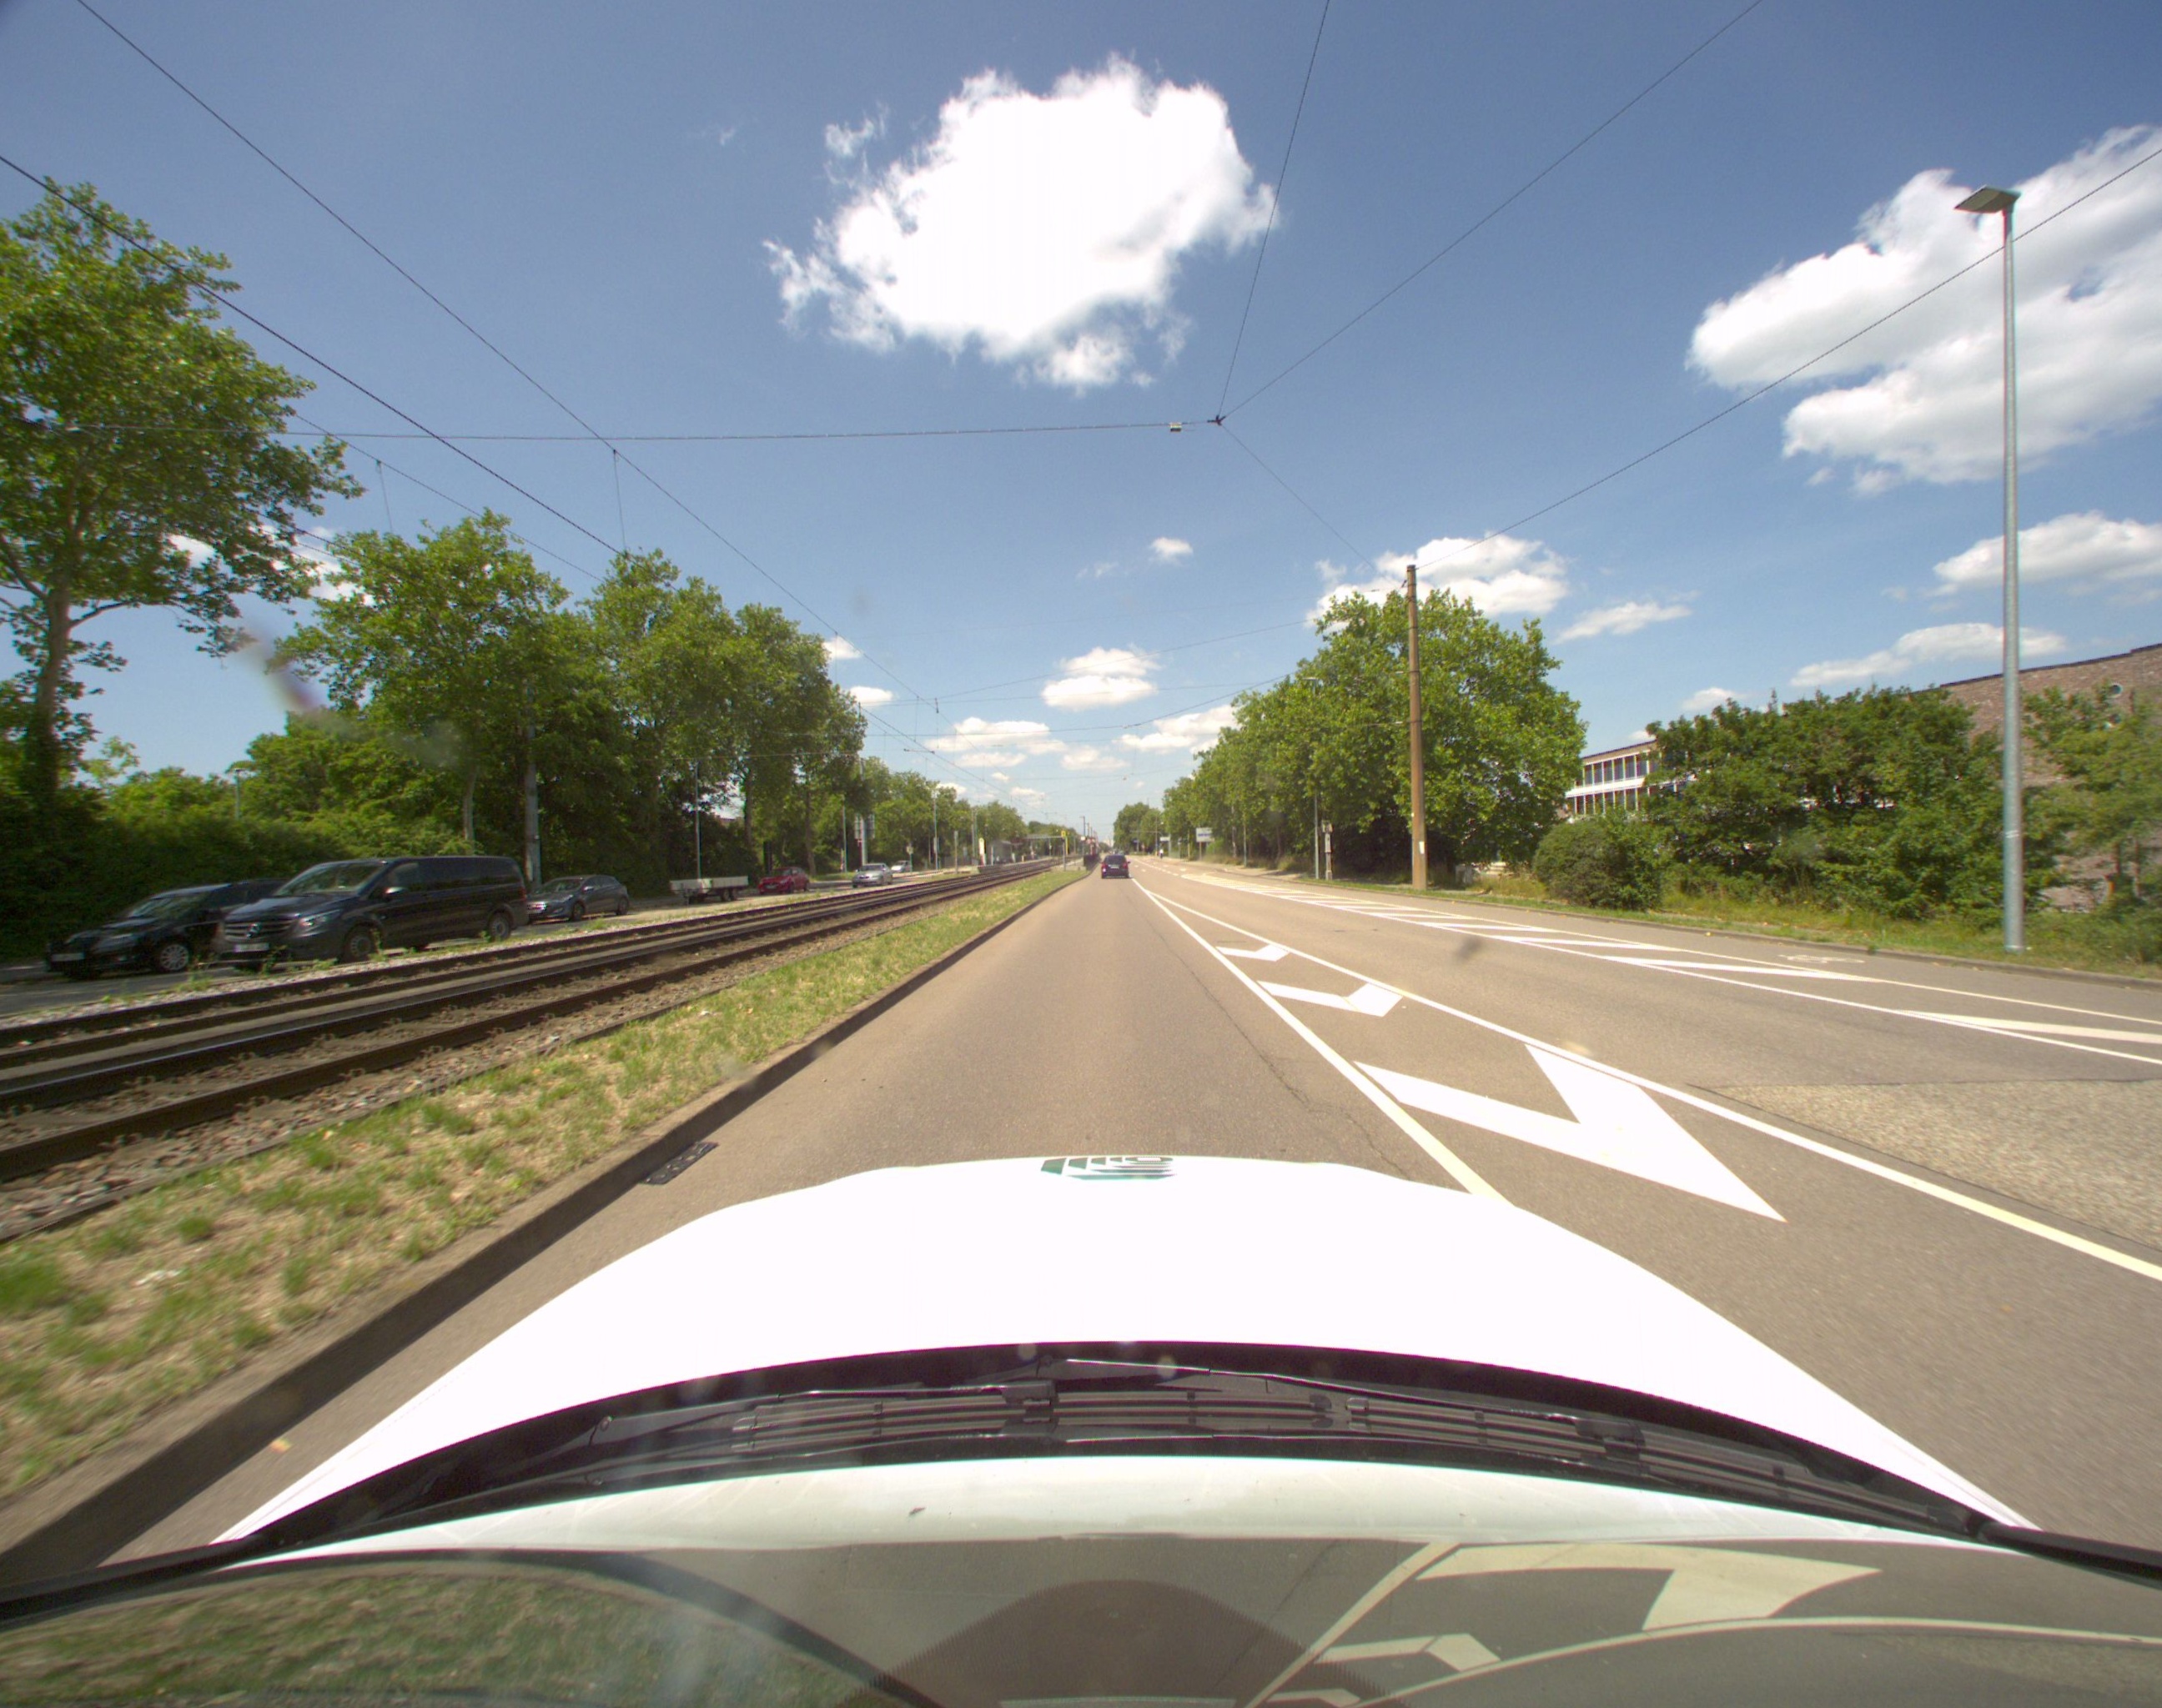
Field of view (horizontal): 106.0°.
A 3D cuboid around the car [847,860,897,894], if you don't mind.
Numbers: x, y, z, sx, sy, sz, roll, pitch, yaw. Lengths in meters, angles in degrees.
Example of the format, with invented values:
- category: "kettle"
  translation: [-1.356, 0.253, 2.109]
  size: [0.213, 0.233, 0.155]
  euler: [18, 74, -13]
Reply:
- category: "car"
  translation: [-13.188, 1.403, 51.686]
  size: [1.986, 2.013, 4.001]
  euler: [-1, 0, 1]

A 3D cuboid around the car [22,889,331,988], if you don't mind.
- category: "car"
  translation: [-16.742, 1.473, 15.409]
  size: [1.429, 1.451, 3.921]
  euler: [-1, 0, 0]

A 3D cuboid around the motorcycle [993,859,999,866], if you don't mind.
- category: "motorcycle"
  translation: [-10.364, 1.028, 99.295]
  size: [0.228, 0.898, 0.890]
  euler: [-1, 0, 33]

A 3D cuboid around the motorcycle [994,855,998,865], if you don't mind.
- category: "motorcycle"
  translation: [-10.358, 0.771, 99.313]
  size: [0.280, 1.173, 0.394]
  euler: [-1, 0, 33]

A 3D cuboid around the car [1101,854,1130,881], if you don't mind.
- category: "car"
  translation: [2.290, 0.881, 53.912]
  size: [1.845, 1.570, 4.392]
  euler: [-1, 2, 3]

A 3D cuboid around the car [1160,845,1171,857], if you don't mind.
- category: "car"
  translation: [14.781, -0.601, 141.918]
  size: [1.606, 2.013, 3.441]
  euler: [0, 1, 1]

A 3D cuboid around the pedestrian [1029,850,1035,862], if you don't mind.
- category: "pedestrian"
  translation: [-8.211, 0.271, 137.377]
  size: [0.949, 2.013, 0.892]
  euler: [0, 1, 1]

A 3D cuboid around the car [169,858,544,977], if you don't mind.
- category: "car"
  translation: [-13.035, 1.004, 15.347]
  size: [2.109, 1.790, 5.407]
  euler: [-1, 0, 1]

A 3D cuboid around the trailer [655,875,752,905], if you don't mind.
- category: "trailer"
  translation: [-16.683, 1.561, 36.309]
  size: [1.886, 1.044, 5.104]
  euler: [0, 0, 1]

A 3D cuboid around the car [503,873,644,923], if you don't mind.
- category: "car"
  translation: [-16.635, 1.384, 27.000]
  size: [1.864, 1.401, 4.417]
  euler: [-1, 0, 0]

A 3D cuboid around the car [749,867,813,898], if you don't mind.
- category: "car"
  translation: [-16.719, 1.549, 45.604]
  size: [1.986, 1.574, 4.001]
  euler: [-1, 0, 1]

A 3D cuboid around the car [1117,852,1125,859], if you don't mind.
- category: "car"
  translation: [9.590, 0.310, 193.886]
  size: [1.877, 1.639, 4.003]
  euler: [2, 1, 3]

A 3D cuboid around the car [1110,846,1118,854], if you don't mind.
- category: "car"
  translation: [9.464, -1.128, 234.240]
  size: [1.986, 2.013, 4.002]
  euler: [0, 1, 1]

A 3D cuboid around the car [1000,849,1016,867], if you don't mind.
- category: "car"
  translation: [-9.013, 0.484, 100.589]
  size: [1.580, 2.013, 4.110]
  euler: [0, 1, 0]

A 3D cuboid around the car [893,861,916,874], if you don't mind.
- category: "car"
  translation: [-23.018, 1.754, 106.555]
  size: [1.986, 1.574, 4.002]
  euler: [-1, 0, 2]
